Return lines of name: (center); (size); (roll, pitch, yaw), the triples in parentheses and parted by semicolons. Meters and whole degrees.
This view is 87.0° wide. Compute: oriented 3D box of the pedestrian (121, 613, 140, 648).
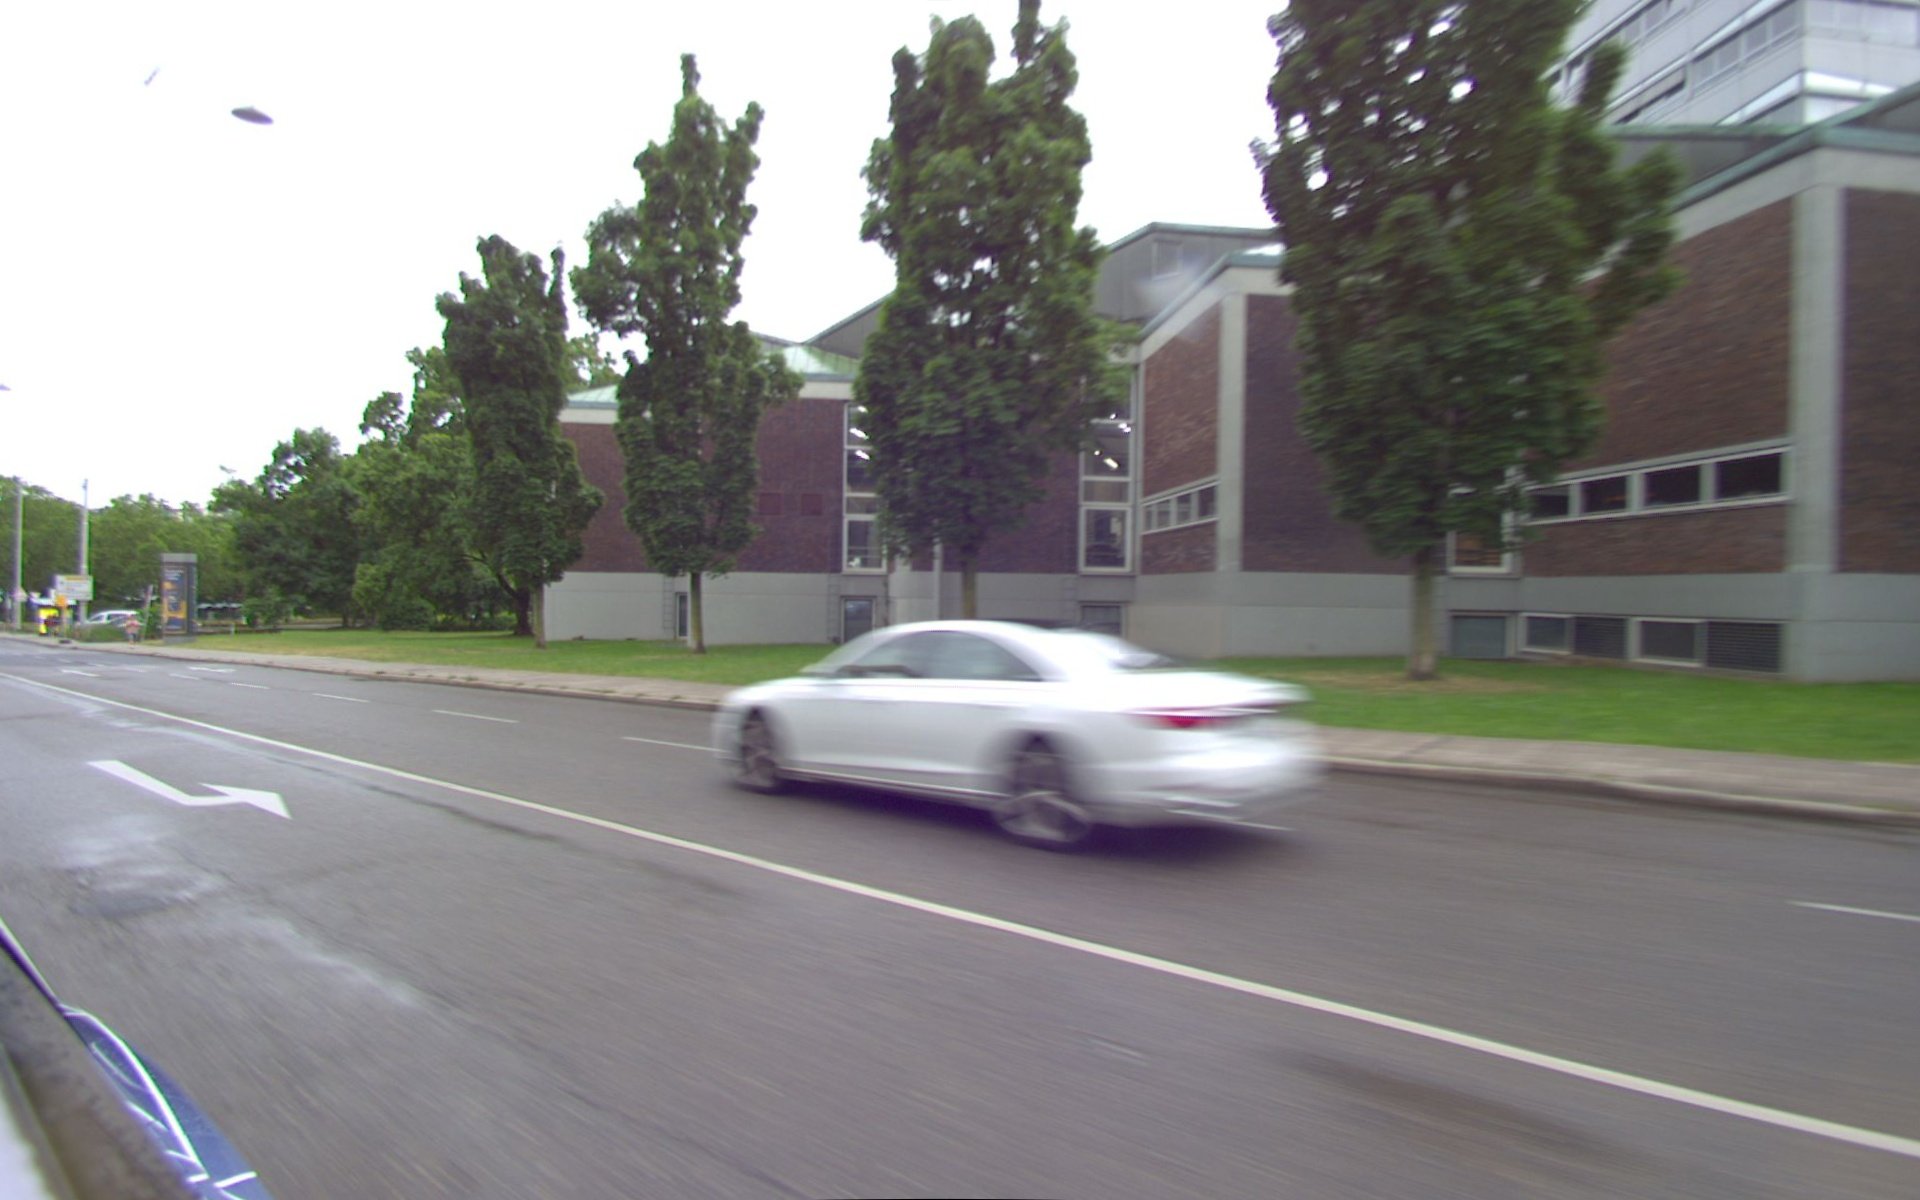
pedestrian: (-40.872, 1.502, 49.883); (0.662, 1.699, 0.914); (-1, 0, -43)

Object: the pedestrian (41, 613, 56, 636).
pedestrian: (-66.481, 1.779, 73.820); (0.641, 1.708, 0.622); (0, 0, 32)

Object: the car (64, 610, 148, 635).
car: (-66.050, 1.712, 78.333); (4.648, 1.768, 2.020); (-1, 0, -8)

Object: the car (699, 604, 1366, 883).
car: (0.217, 0.853, 7.947); (5.219, 1.502, 1.861); (-1, -3, 43)

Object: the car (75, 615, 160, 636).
car: (-60.715, 1.834, 73.002); (4.305, 1.359, 1.911); (-1, 1, -20)

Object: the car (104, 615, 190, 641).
car: (-53.688, 1.837, 66.880); (4.472, 1.621, 1.865); (-1, 0, 7)
